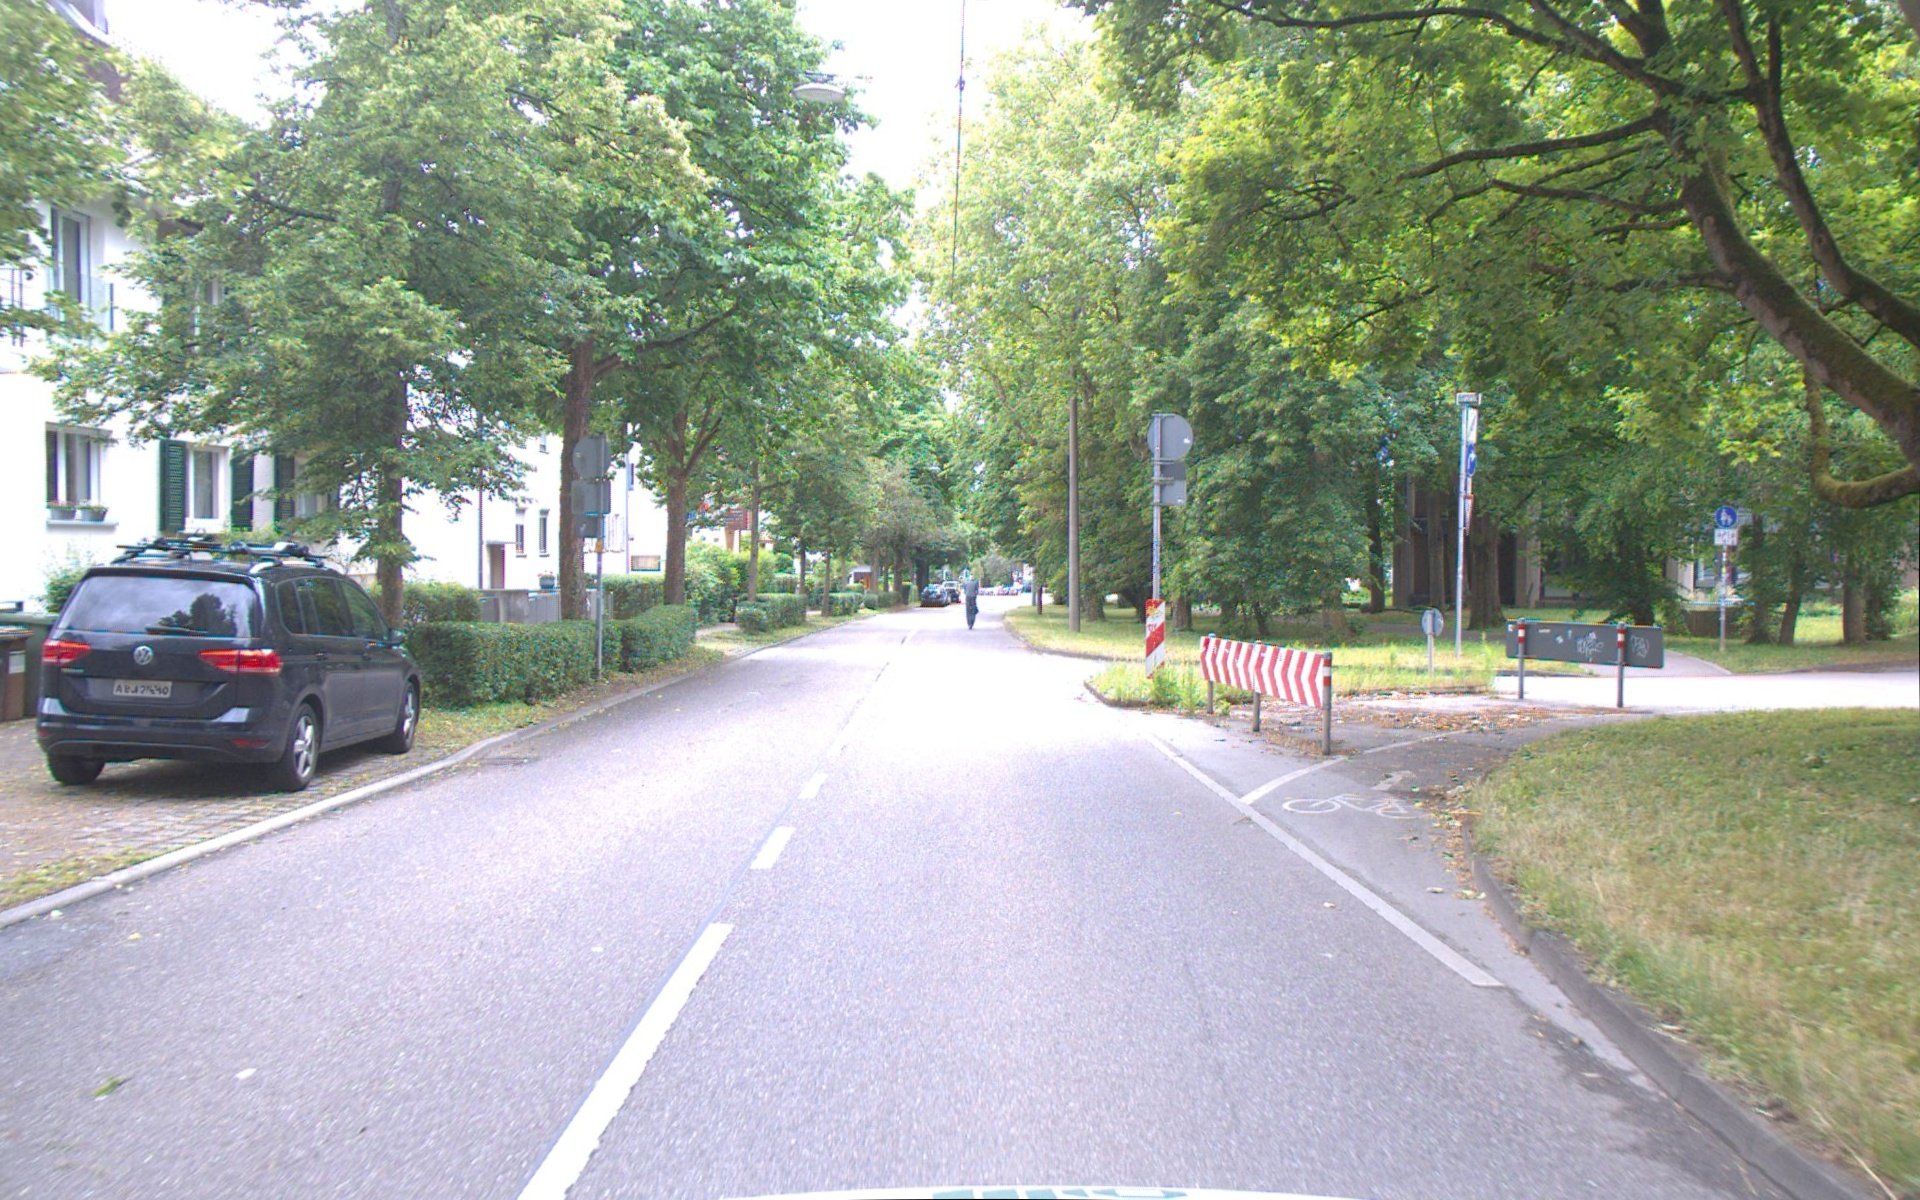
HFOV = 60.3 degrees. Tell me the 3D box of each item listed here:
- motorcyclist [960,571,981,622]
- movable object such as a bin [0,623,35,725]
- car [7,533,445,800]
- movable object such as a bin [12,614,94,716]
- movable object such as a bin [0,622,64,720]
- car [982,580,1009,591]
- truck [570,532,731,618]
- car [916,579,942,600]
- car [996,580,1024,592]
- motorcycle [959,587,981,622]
[{"bbox_3d":[0.380,-0.126,59.934,0.658,1.792,0.639,1,0,4],"label":"motorcyclist"},{"bbox_3d":[-9.427,0.714,16.070,0.548,0.957,0.640,0,0,-6],"label":"movable object such as a bin"},{"bbox_3d":[-5.632,0.432,13.374,1.789,1.784,4.450,1,1,-4],"label":"car"},{"bbox_3d":[-9.539,0.673,17.408,0.548,1.043,0.601,0,0,-6],"label":"movable object such as a bin"},{"bbox_3d":[-9.503,0.710,16.748,0.548,0.957,0.640,0,0,-6],"label":"movable object such as a bin"},{"bbox_3d":[5.291,-2.181,245.752,3.905,1.537,1.800,-1,0,0],"label":"car"},{"bbox_3d":[-11.840,-0.963,63.582,5.678,3.185,2.518,1,0,-1],"label":"truck"},{"bbox_3d":[-2.234,-0.745,120.947,1.757,1.498,4.418,0,0,0],"label":"car"},{"bbox_3d":[7.050,-1.968,233.045,3.905,1.537,1.800,-1,0,0],"label":"car"},{"bbox_3d":[0.364,0.172,59.802,0.658,1.239,1.274,1,0,4],"label":"motorcycle"}]
